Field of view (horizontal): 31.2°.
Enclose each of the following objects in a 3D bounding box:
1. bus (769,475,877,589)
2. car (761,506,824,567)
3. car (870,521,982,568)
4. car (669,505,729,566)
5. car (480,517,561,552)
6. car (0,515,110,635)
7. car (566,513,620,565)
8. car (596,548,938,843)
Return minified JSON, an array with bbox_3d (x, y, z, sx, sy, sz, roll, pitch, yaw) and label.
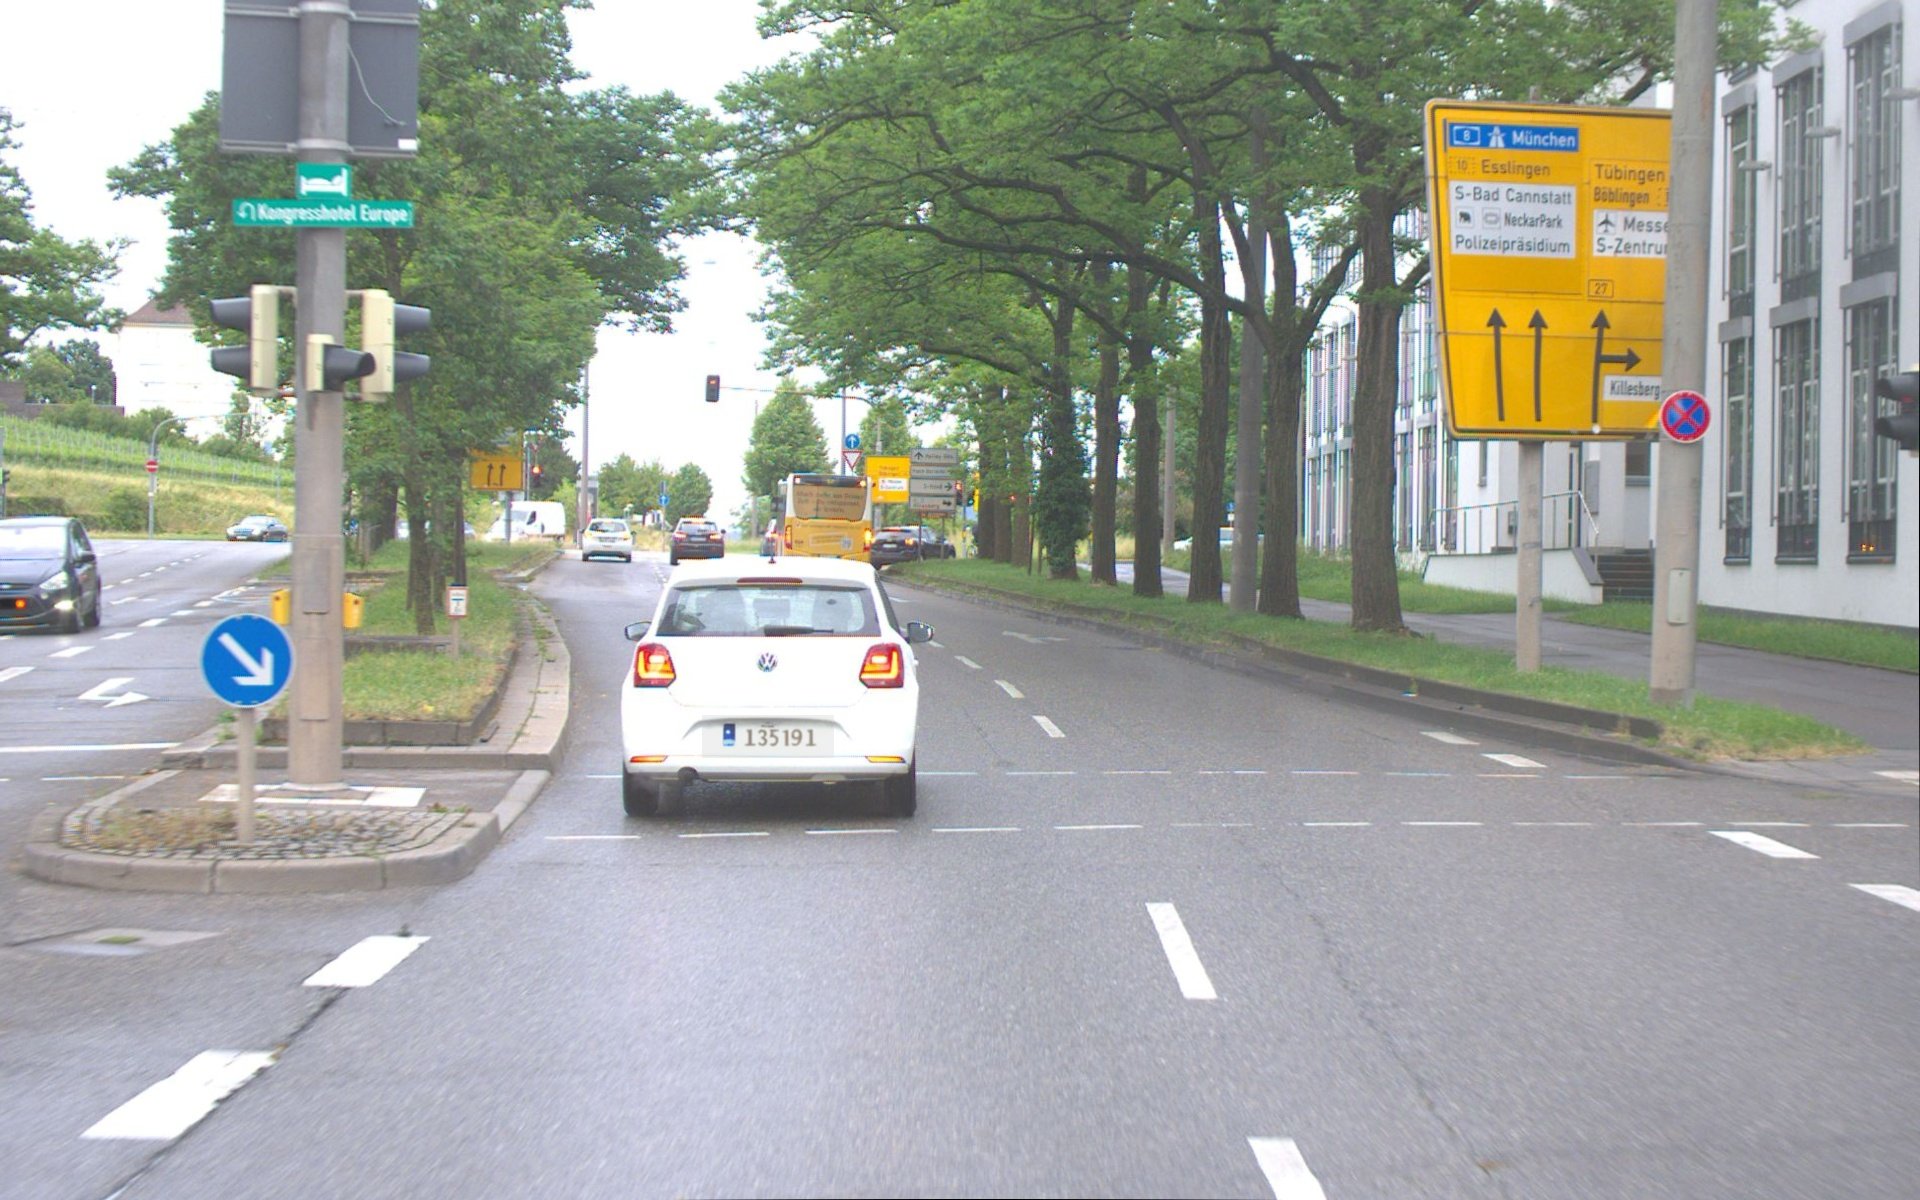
[{"bbox_3d":[-4.243,-2.087,104.555,2.827,3.255,10.002,1,1,-5],"label":"bus"},{"bbox_3d":[-5.751,-2.154,117.649,1.993,2.007,4.001,1,0,-5],"label":"car"},{"bbox_3d":[-1.146,-1.880,117.103,1.699,1.510,3.818,1,0,41],"label":"car"},{"bbox_3d":[-8.880,-2.184,116.934,1.993,2.007,4.001,1,0,-5],"label":"car"},{"bbox_3d":[-25.161,-3.771,197.139,1.996,2.007,5.704,1,1,23],"label":"car"},{"bbox_3d":[-13.493,-0.393,49.308,1.993,1.610,5.122,-1,2,-8],"label":"car"},{"bbox_3d":[-12.592,-2.088,118.245,1.794,1.735,4.001,0,1,-5],"label":"car"},{"bbox_3d":[-1.157,0.486,20.514,1.794,1.497,4.001,2,1,-3],"label":"car"}]
